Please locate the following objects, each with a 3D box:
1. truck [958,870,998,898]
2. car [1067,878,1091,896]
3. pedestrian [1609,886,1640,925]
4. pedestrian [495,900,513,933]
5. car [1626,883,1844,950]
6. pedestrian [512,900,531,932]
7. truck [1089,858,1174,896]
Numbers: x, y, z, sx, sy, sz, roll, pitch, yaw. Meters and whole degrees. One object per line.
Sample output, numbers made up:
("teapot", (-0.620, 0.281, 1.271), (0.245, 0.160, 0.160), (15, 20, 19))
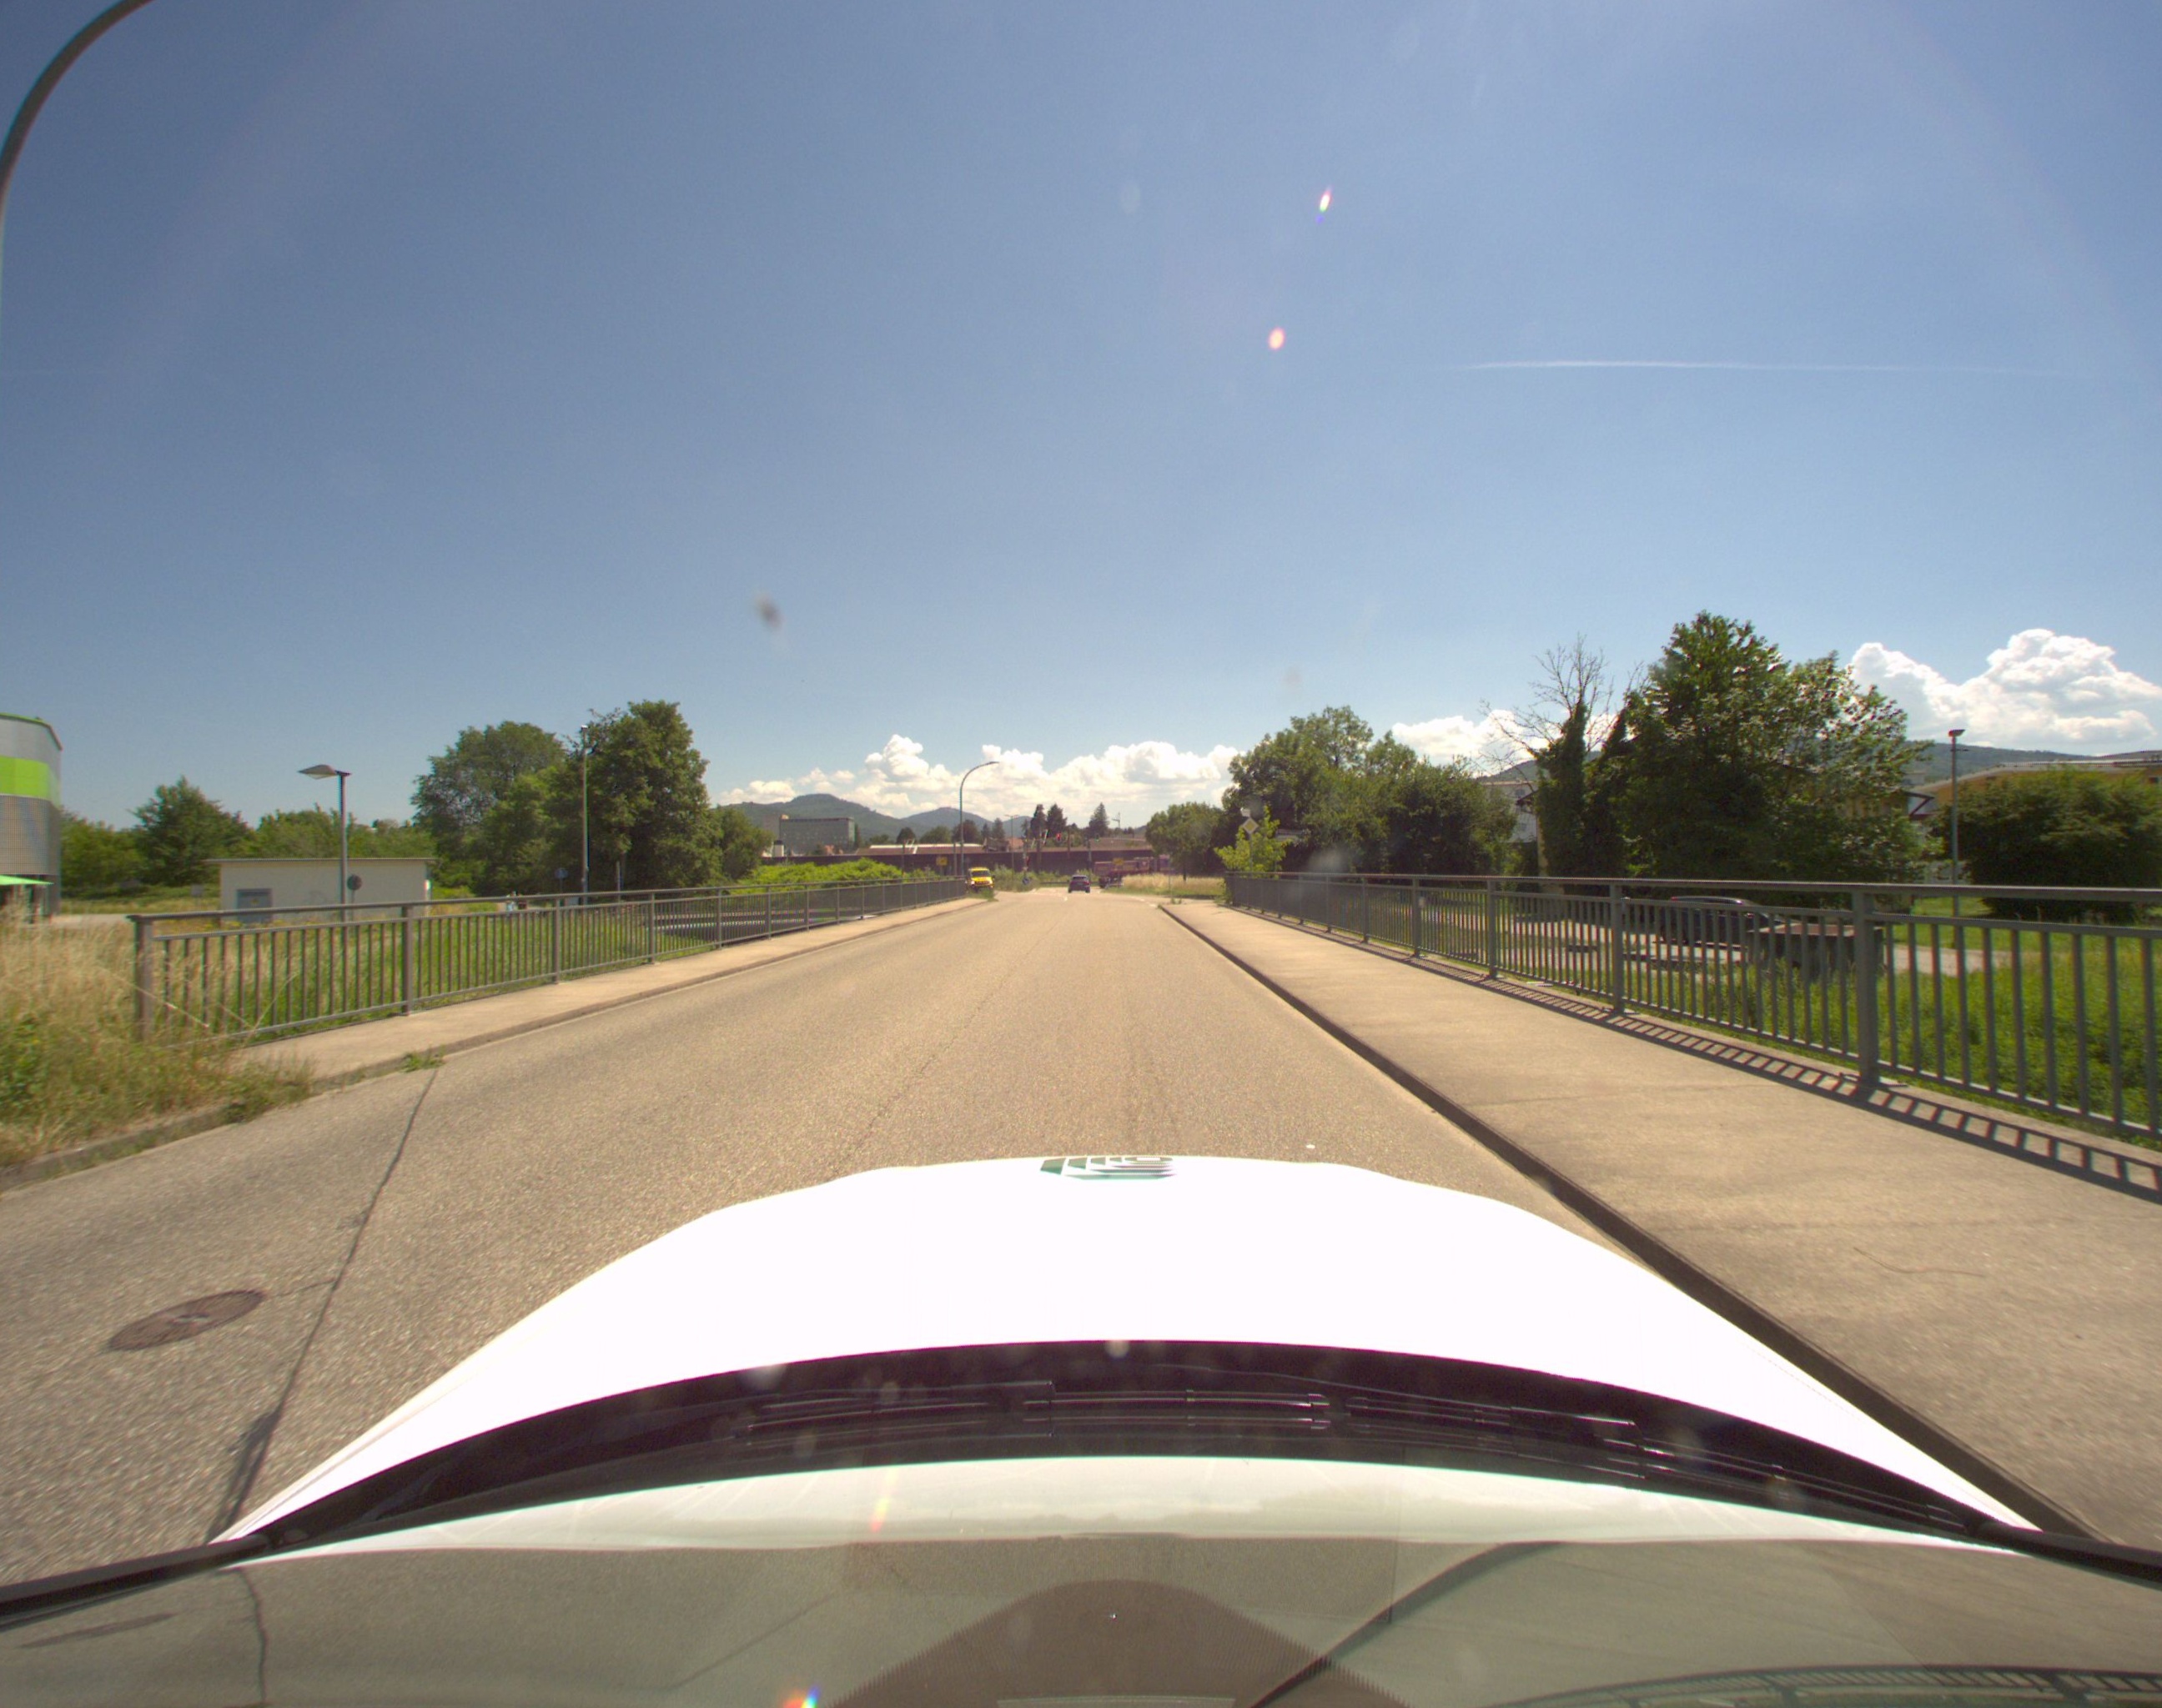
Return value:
("truck", (-9.682, 2.862, 75.738), (2.316, 2.338, 9.000), (-1, -3, -16))
("car", (-0.205, 2.861, 71.371), (1.988, 1.503, 3.997), (1, -2, -1))
("pedestrian", (20.324, 1.920, 30.454), (0.676, 1.393, 0.853), (-3, 0, 13))
("pedestrian", (-30.055, 3.268, 42.438), (0.515, 1.674, 0.624), (3, -3, -21))
("car", (18.492, 1.687, 23.220), (2.009, 1.624, 4.462), (0, -1, -36))
("pedestrian", (-29.568, 3.288, 43.040), (0.628, 1.674, 0.594), (3, -3, -20))
("truck", (6.184, 2.870, 96.846), (2.968, 4.181, 11.874), (-3, -4, 45))
